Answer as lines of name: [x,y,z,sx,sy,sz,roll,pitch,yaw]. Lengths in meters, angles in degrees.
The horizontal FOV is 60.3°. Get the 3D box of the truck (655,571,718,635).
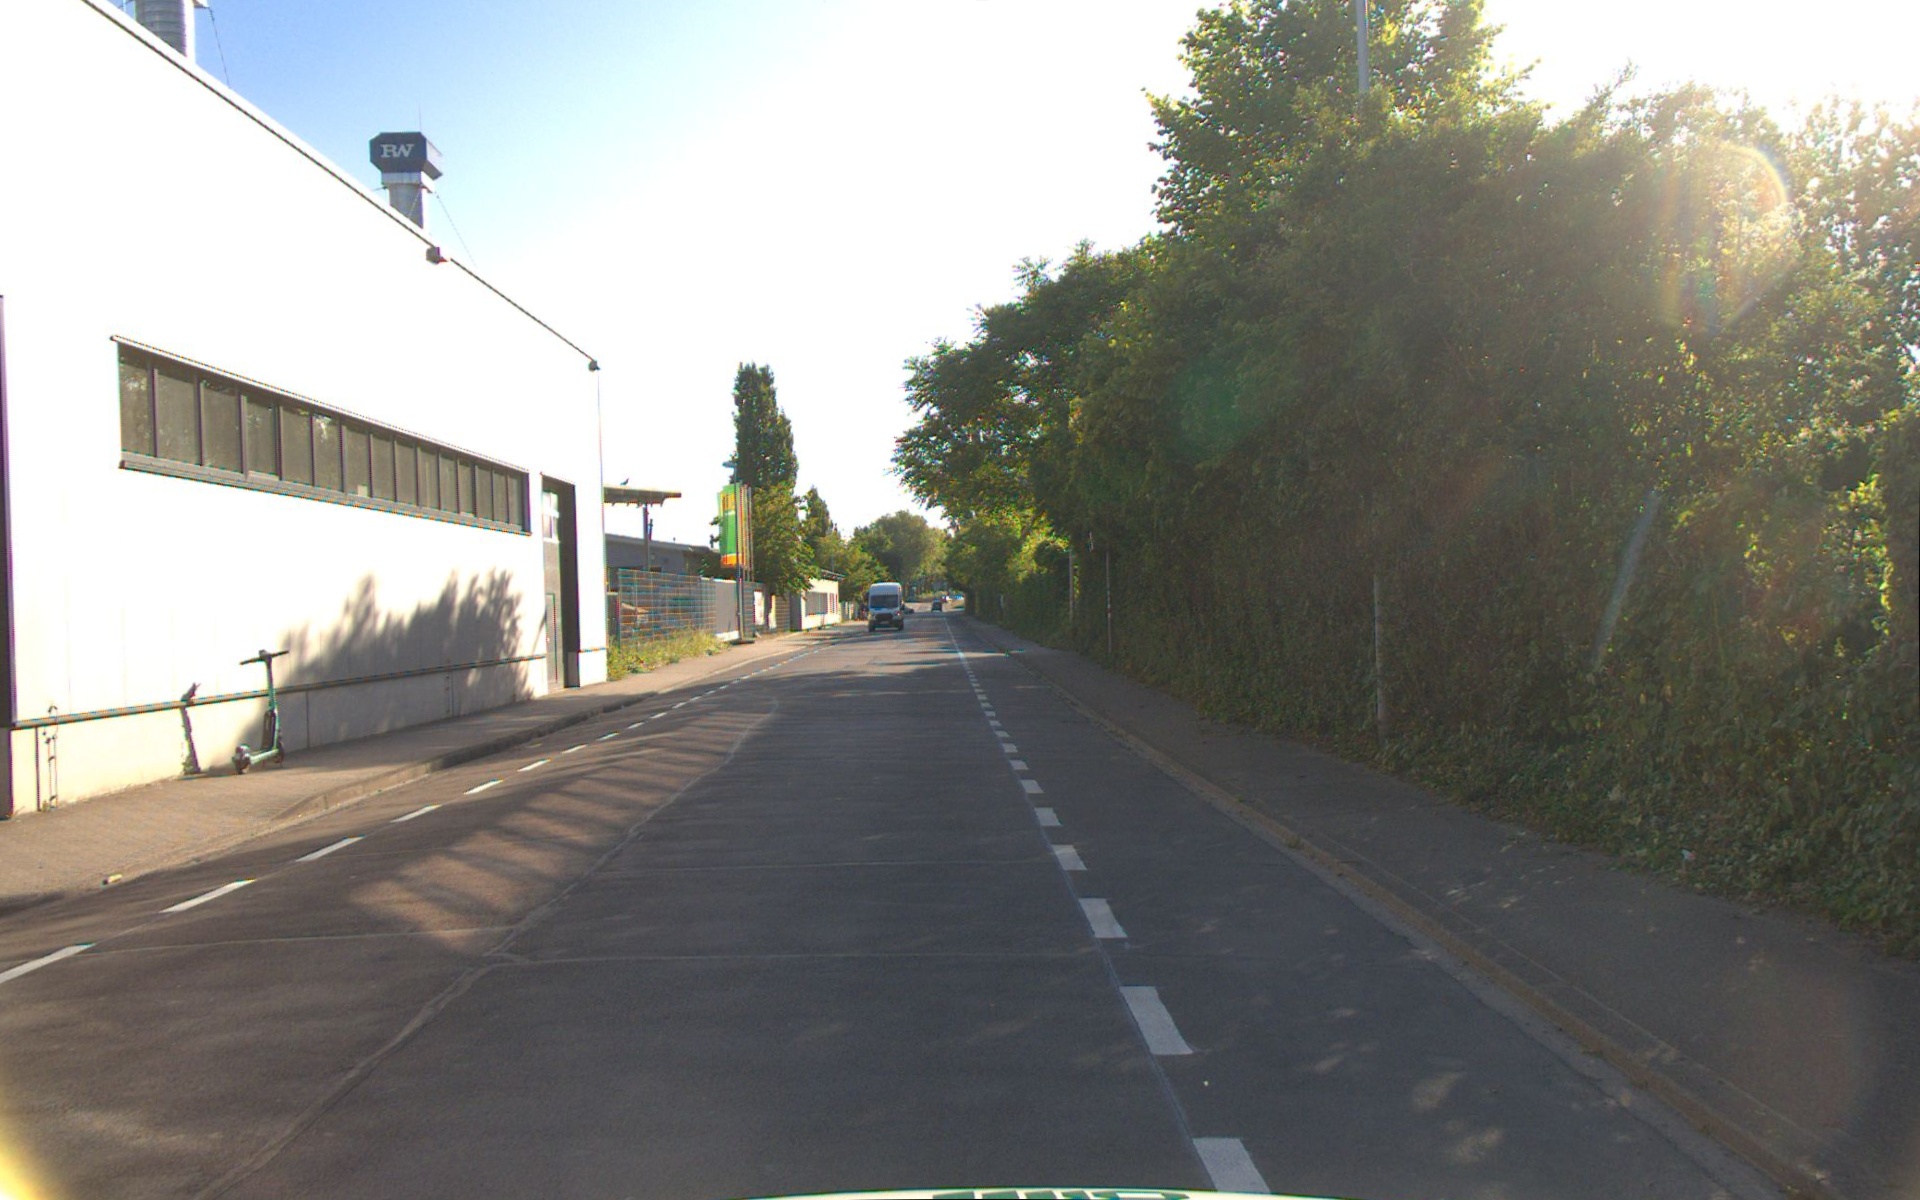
truck: [-12.920,0.115,78.436,2.036,2.809,5.763,-3,1,-1]

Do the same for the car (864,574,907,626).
car: [-4.389,-0.024,98.627,2.080,2.828,5.926,-5,0,0]

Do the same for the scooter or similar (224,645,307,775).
scooter or similar: [-7.408,1.157,17.671,0.407,1.289,1.059,-2,0,-1]

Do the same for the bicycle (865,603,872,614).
bicycle: [-8.918,0.827,160.956,0.675,1.052,1.350,-1,0,-1]

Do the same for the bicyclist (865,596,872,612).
bicyclist: [-8.922,0.391,160.998,0.675,1.558,0.722,-1,0,-1]

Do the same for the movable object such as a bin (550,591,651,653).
movable object such as a bin: [-11.875,0.729,54.764,2.978,1.867,1.525,-3,1,-3]
